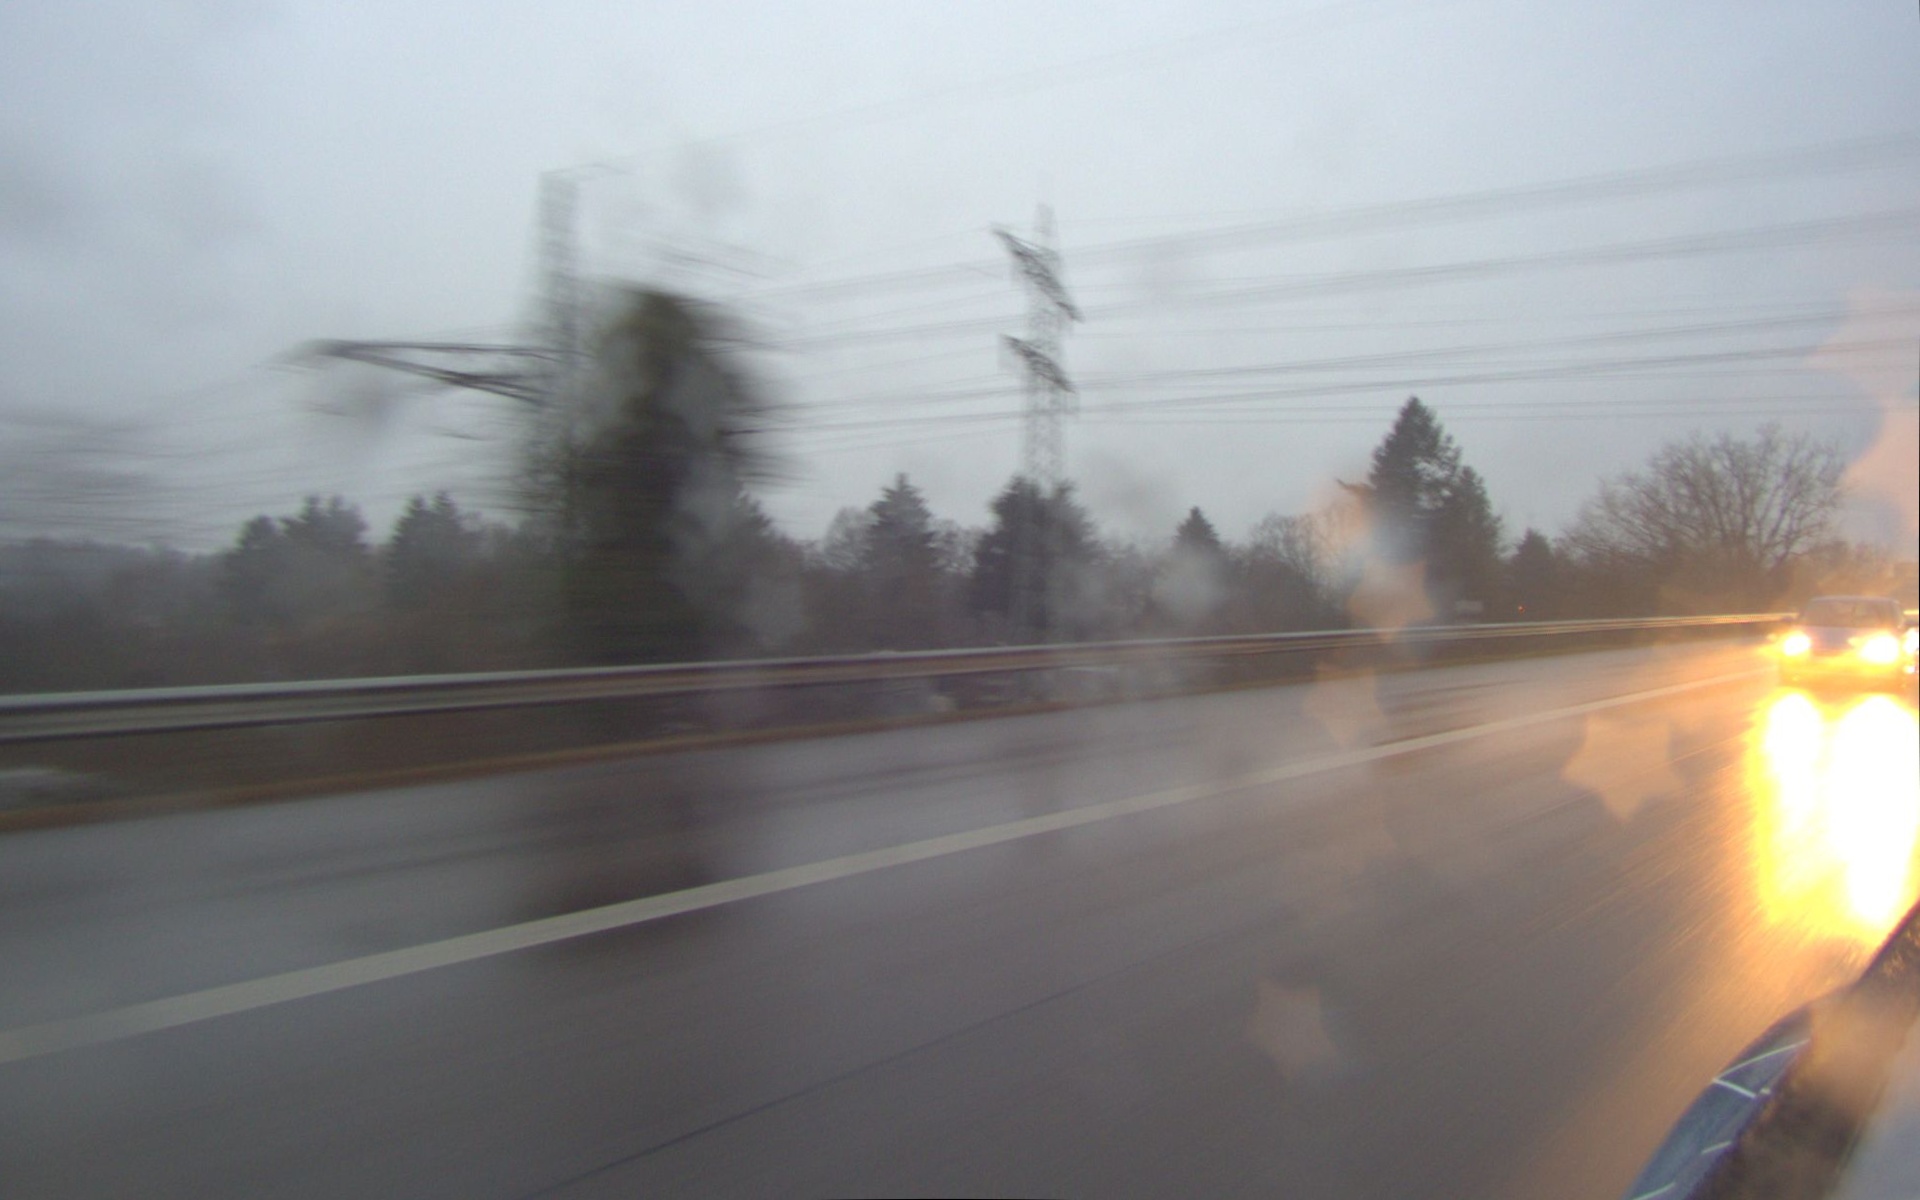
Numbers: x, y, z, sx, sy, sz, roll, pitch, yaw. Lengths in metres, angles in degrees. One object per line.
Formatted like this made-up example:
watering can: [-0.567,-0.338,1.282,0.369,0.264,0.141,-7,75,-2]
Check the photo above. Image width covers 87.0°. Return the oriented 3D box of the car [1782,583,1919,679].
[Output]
car: [16.084,0.457,17.813,4.077,1.471,1.849,-2,1,-41]
